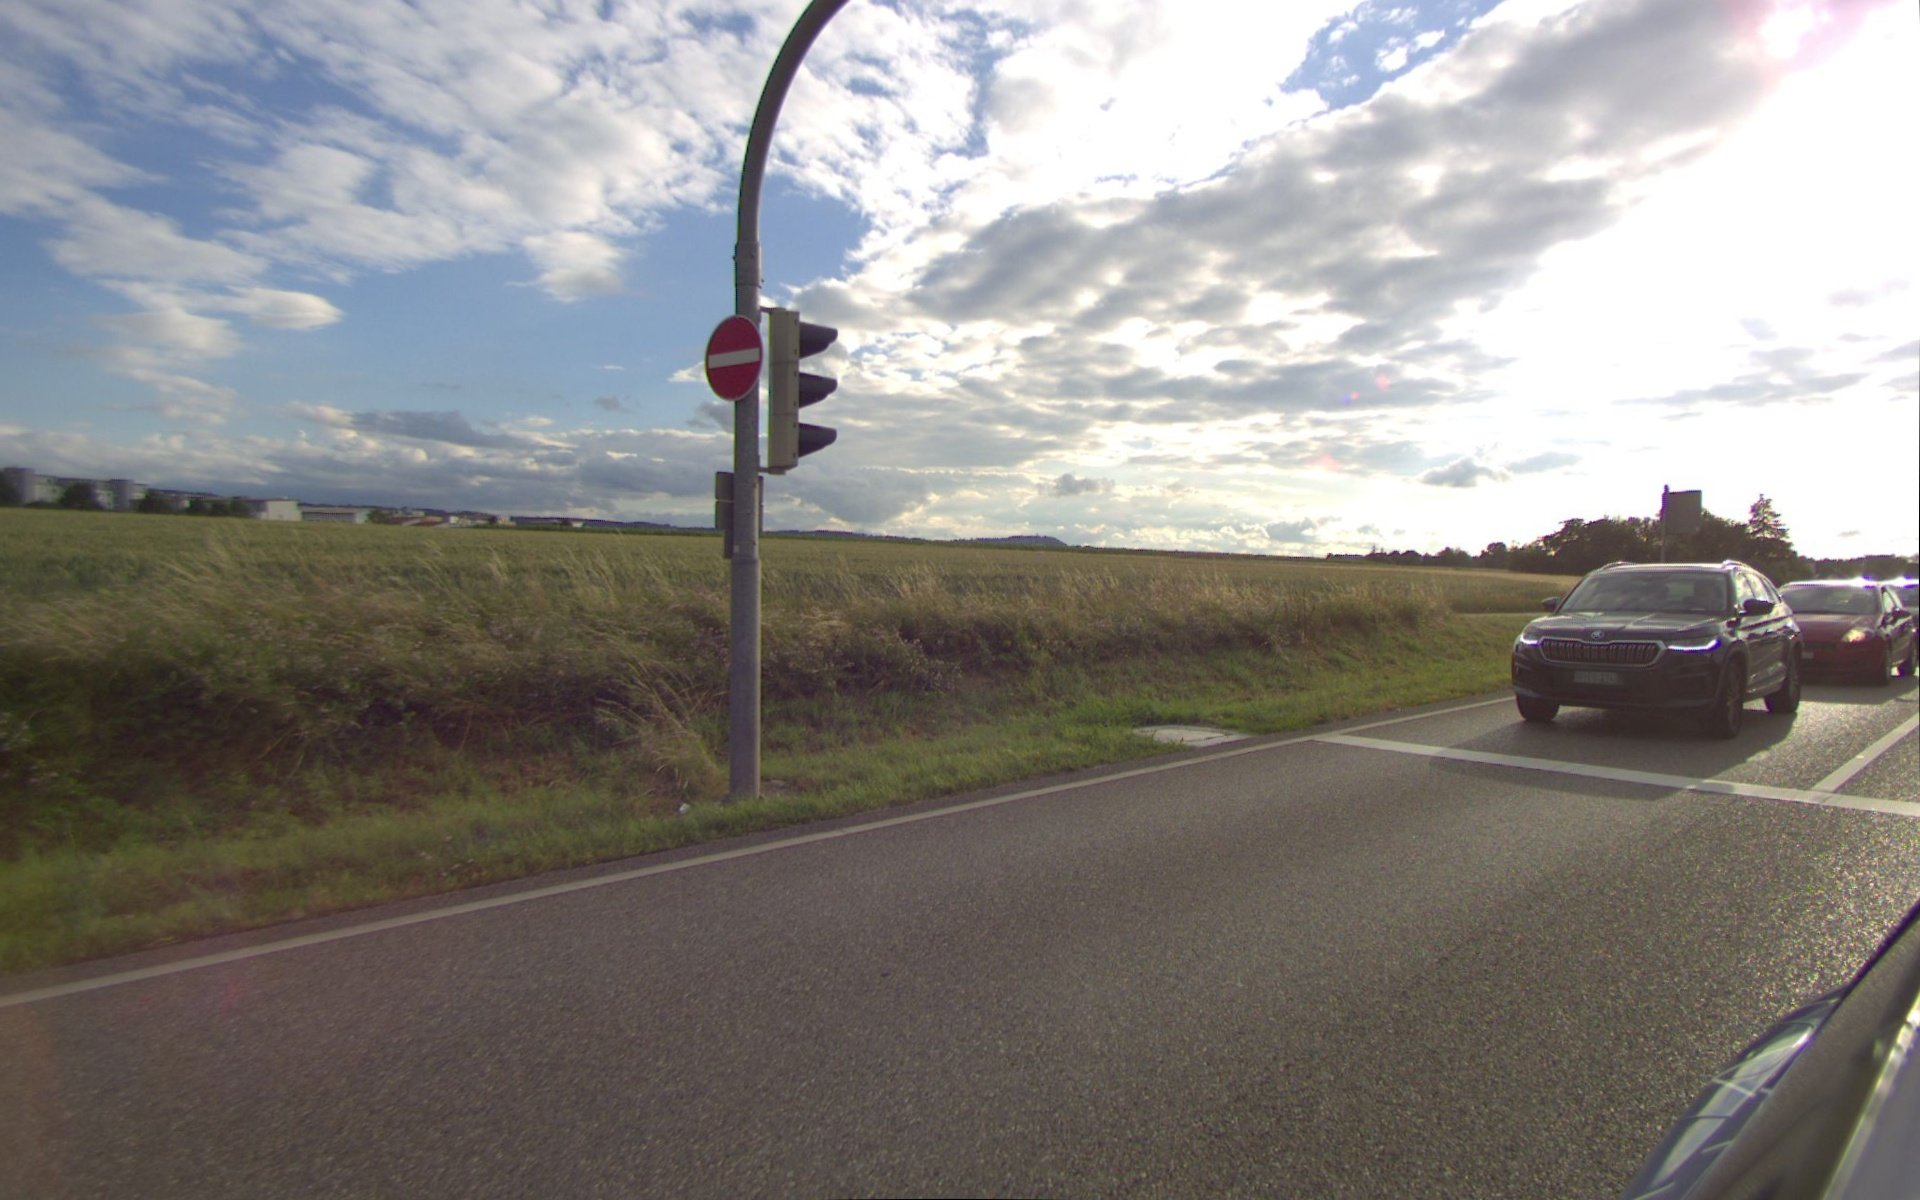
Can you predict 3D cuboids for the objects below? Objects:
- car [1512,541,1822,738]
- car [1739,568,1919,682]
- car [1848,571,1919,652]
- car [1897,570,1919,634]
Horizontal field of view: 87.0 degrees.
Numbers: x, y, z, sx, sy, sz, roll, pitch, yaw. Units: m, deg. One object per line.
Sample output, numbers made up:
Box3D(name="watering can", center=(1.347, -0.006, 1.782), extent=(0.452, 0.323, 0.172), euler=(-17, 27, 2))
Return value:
Box3D(name="car", center=(7.658, 0.309, 10.791), extent=(4.342, 1.688, 1.722), euler=(-1, 1, -41))
Box3D(name="car", center=(13.195, 0.303, 15.125), extent=(3.797, 1.494, 1.668), euler=(-1, 1, -40))
Box3D(name="car", center=(19.034, 0.182, 20.029), extent=(3.798, 1.494, 1.722), euler=(-1, 1, -41))
Box3D(name="car", center=(23.992, 0.024, 24.454), extent=(3.414, 1.494, 1.629), euler=(-1, 1, -41))
